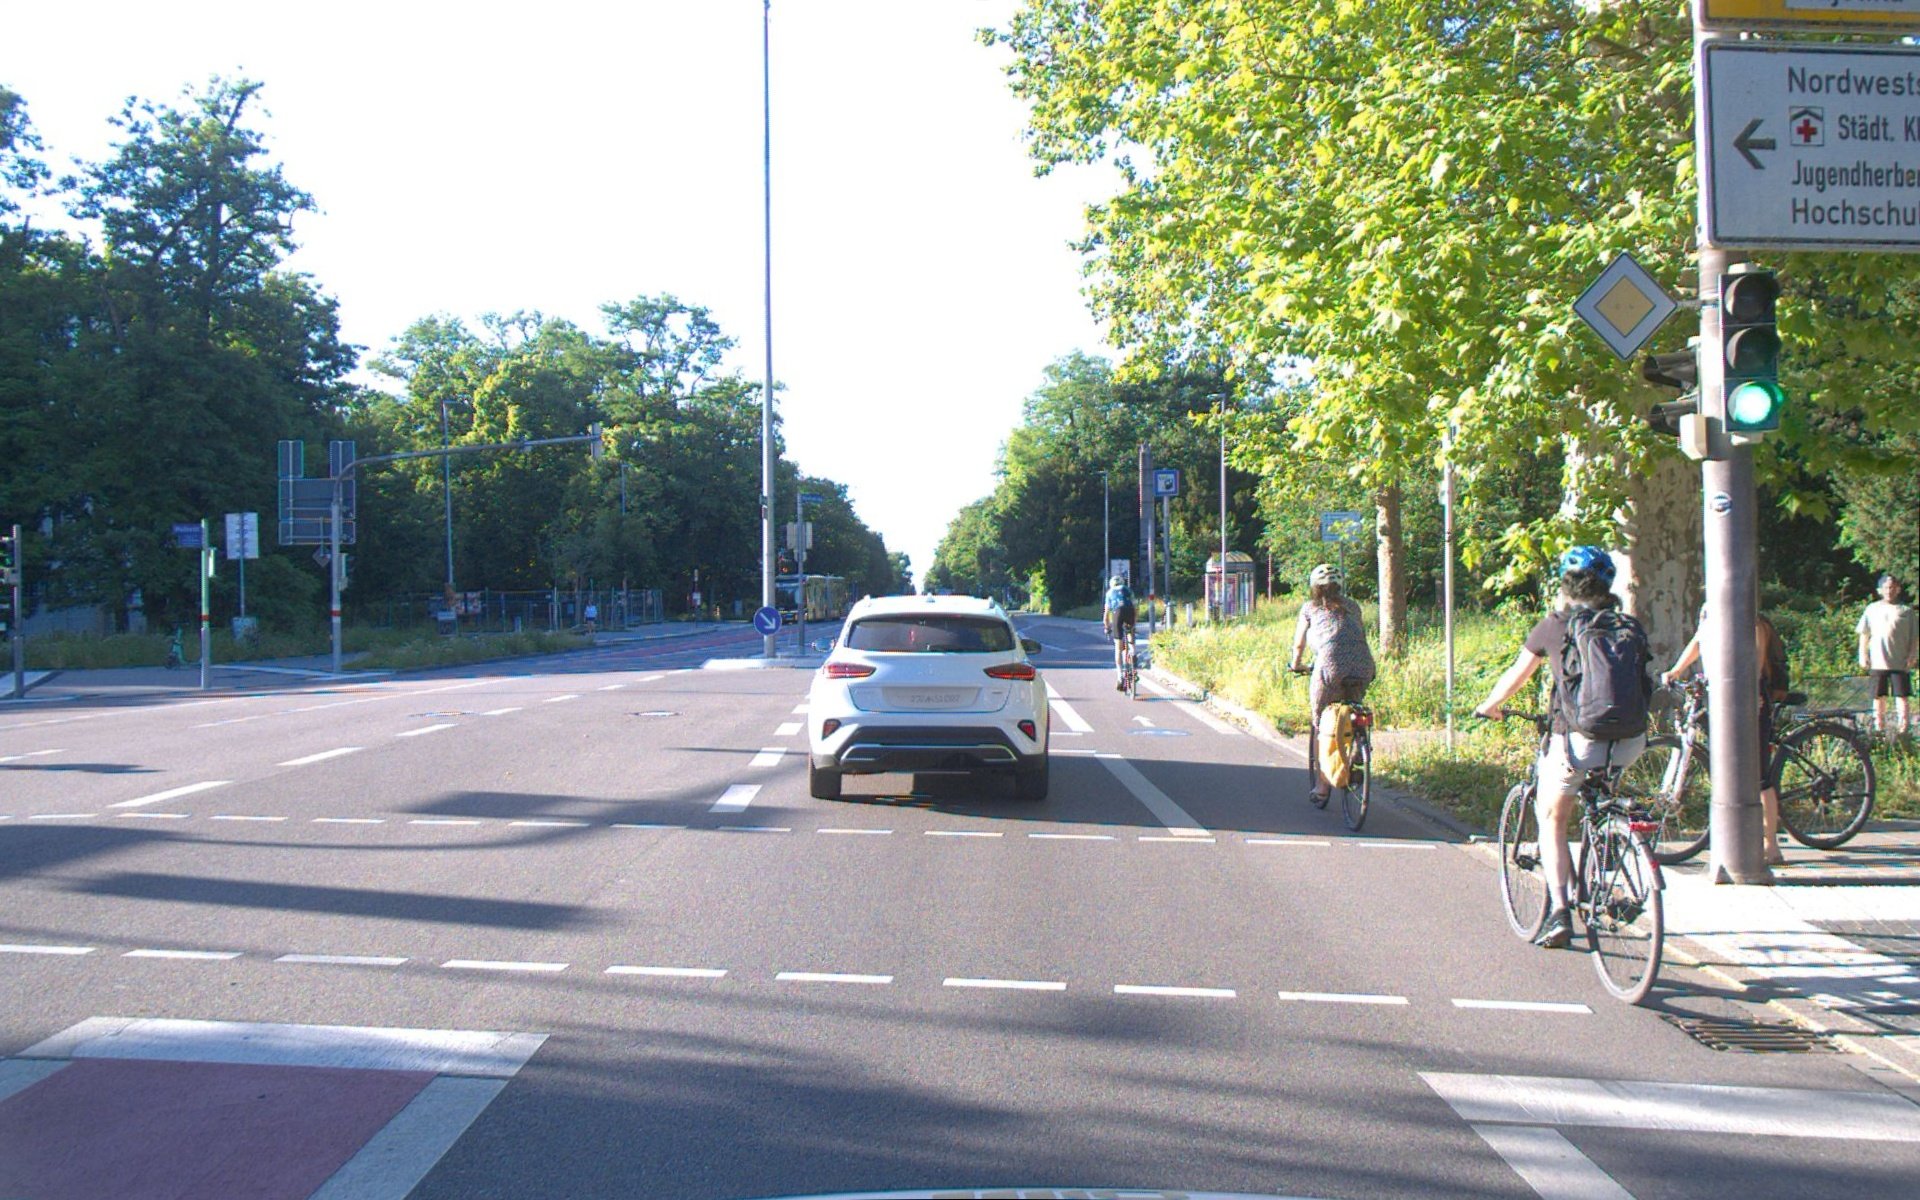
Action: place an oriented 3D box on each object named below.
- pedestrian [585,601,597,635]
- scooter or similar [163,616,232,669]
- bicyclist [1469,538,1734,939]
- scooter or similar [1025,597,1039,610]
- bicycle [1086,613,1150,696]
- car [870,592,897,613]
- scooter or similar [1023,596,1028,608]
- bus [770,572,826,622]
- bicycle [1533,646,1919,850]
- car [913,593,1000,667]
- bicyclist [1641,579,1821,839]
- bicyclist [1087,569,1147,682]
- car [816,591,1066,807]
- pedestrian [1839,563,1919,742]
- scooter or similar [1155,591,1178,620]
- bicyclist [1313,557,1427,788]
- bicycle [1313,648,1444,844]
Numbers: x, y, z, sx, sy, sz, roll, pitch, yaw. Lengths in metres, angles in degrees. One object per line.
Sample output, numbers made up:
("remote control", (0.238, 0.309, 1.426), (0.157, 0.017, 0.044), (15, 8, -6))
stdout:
("pedestrian", (-16.906, 0.816, 75.834), (0.442, 1.560, 0.571), (-1, 0, -4))
("scooter or similar", (-19.698, 1.098, 42.741), (0.680, 1.316, 1.494), (-1, 0, 29))
("bicyclist", (2.616, 0.532, 6.831), (0.679, 1.527, 0.892), (-1, 0, -4))
("scooter or similar", (6.979, 0.320, 160.287), (1.530, 1.272, 0.526), (-1, 0, -45))
("bicycle", (2.272, 0.766, 23.993), (0.872, 1.114, 2.137), (0, 0, 4))
("car", (-5.595, 0.169, 122.010), (1.675, 1.446, 4.555), (-1, 1, 1))
("scooter or similar", (7.058, 0.246, 178.142), (0.522, 1.272, 1.541), (-1, 0, -1))
("bus", (-11.141, -0.215, 114.301), (2.782, 3.252, 8.600), (-1, 0, 1))
("bicycle", (4.492, 0.859, 9.795), (1.942, 1.114, 0.696), (-1, 0, 6))
("car", (-0.023, 0.599, 34.747), (1.641, 1.442, 3.575), (-1, 0, 2))
("bicyclist", (4.546, 0.623, 9.796), (0.748, 1.473, 0.696), (-1, 0, 6))
("bicyclist", (2.253, 0.356, 23.839), (0.842, 1.594, 0.881), (0, 0, 4))
("car", (-0.272, 0.693, 13.410), (1.727, 1.485, 3.814), (1, 0, -5))
("pedestrian", (8.423, 0.460, 14.894), (0.675, 1.573, 0.681), (-1, 0, 8))
("scooter or similar", (9.542, 0.252, 76.450), (0.707, 1.269, 1.328), (-3, -2, 22))
("bicyclist", (2.794, 0.480, 11.332), (0.678, 1.516, 0.801), (-1, 0, 10))
("bicycle", (2.767, 0.920, 11.105), (0.678, 1.114, 2.138), (-1, 0, 10))
